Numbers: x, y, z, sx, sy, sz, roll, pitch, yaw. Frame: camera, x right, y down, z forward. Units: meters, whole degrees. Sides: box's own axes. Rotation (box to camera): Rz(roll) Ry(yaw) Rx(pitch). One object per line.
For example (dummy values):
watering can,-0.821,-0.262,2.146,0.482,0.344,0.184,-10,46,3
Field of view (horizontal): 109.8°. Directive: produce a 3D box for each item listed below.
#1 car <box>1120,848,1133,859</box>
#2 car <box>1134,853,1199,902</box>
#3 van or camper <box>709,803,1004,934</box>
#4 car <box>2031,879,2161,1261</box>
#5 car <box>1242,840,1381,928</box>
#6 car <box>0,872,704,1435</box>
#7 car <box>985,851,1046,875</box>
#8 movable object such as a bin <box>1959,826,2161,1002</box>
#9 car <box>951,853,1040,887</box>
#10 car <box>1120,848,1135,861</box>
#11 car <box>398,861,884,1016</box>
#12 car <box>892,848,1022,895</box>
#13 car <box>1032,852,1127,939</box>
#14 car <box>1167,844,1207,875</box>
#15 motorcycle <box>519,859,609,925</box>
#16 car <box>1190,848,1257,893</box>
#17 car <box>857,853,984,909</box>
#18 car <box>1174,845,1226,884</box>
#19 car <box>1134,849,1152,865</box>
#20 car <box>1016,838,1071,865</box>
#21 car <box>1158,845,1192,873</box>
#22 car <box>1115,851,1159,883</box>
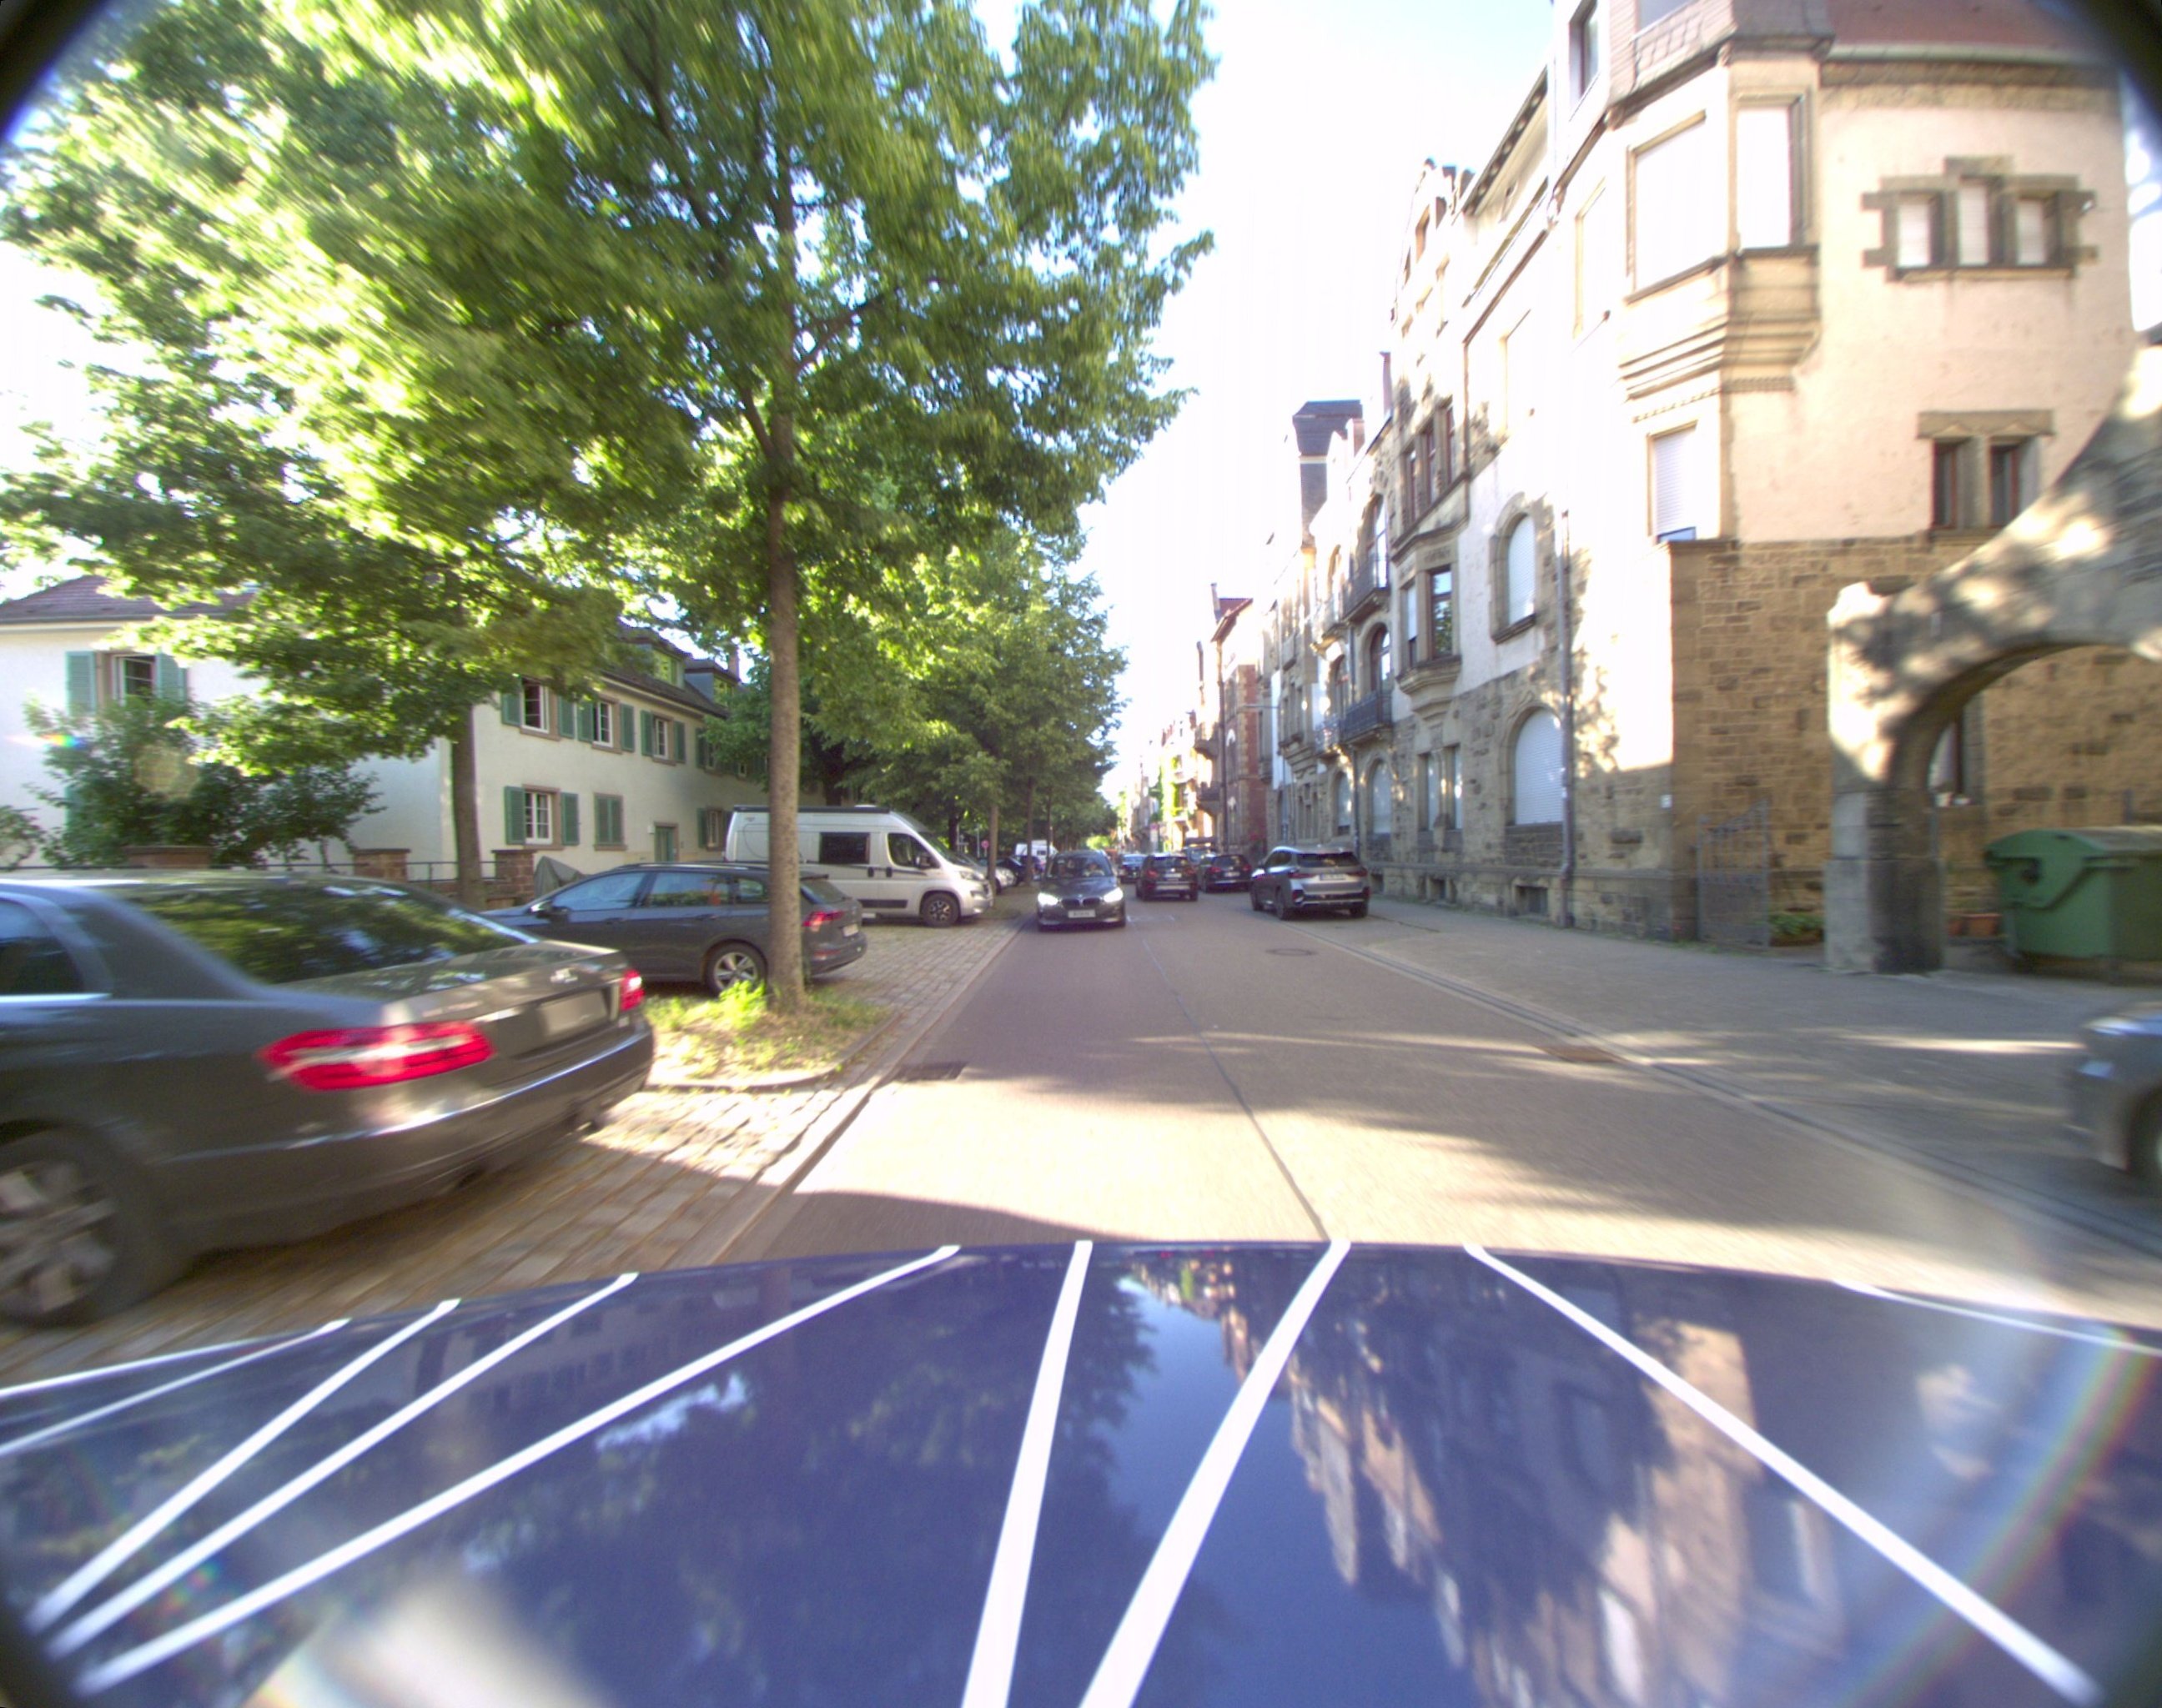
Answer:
car,6.689,-0.093,111.869,1.710,1.496,3.629,-5,-1,2
car,2.736,0.716,24.997,1.631,1.469,3.758,0,1,-1
van or camper,-4.686,0.285,16.569,5.733,2.502,2.162,2,1,0
car,4.979,0.815,1.234,1.681,1.434,4.111,-3,0,0
car,5.127,0.593,17.571,1.881,1.707,4.339,-2,0,1
car,-4.491,0.906,3.167,4.850,1.530,1.894,2,1,-1
car,-4.406,0.593,51.536,3.998,1.504,1.572,-1,1,-3
movable object such as a bin,9.490,0.499,7.101,1.196,1.470,1.173,-3,2,0
car,-4.030,0.728,36.163,3.997,1.543,1.555,-1,1,1
car,6.334,0.099,103.515,1.710,1.496,3.629,-5,-1,2
car,-4.765,0.876,8.709,4.487,1.427,1.828,2,1,1
car,-4.628,0.638,28.908,4.606,1.706,1.999,1,1,-1
car,0.027,0.788,16.860,1.753,1.596,4.550,-2,0,1
car,5.742,0.310,41.369,1.633,1.439,3.856,-5,-1,2
motorcycle,-12.184,0.854,18.004,0.660,1.398,2.016,-3,1,0
car,5.393,0.576,29.224,1.774,1.493,4.211,-1,2,0
car,-4.646,0.761,22.316,3.260,1.454,1.824,2,1,1
car,5.546,0.448,35.977,1.774,1.658,4.211,-2,1,0
car,6.697,0.346,82.411,1.686,1.496,3.629,-5,-1,2
car,-3.793,-0.239,77.176,5.448,2.646,2.134,-1,1,1
car,5.816,0.329,47.301,1.633,1.496,3.856,-5,-1,2
car,2.828,0.636,39.108,1.868,1.454,4.567,1,1,-1
